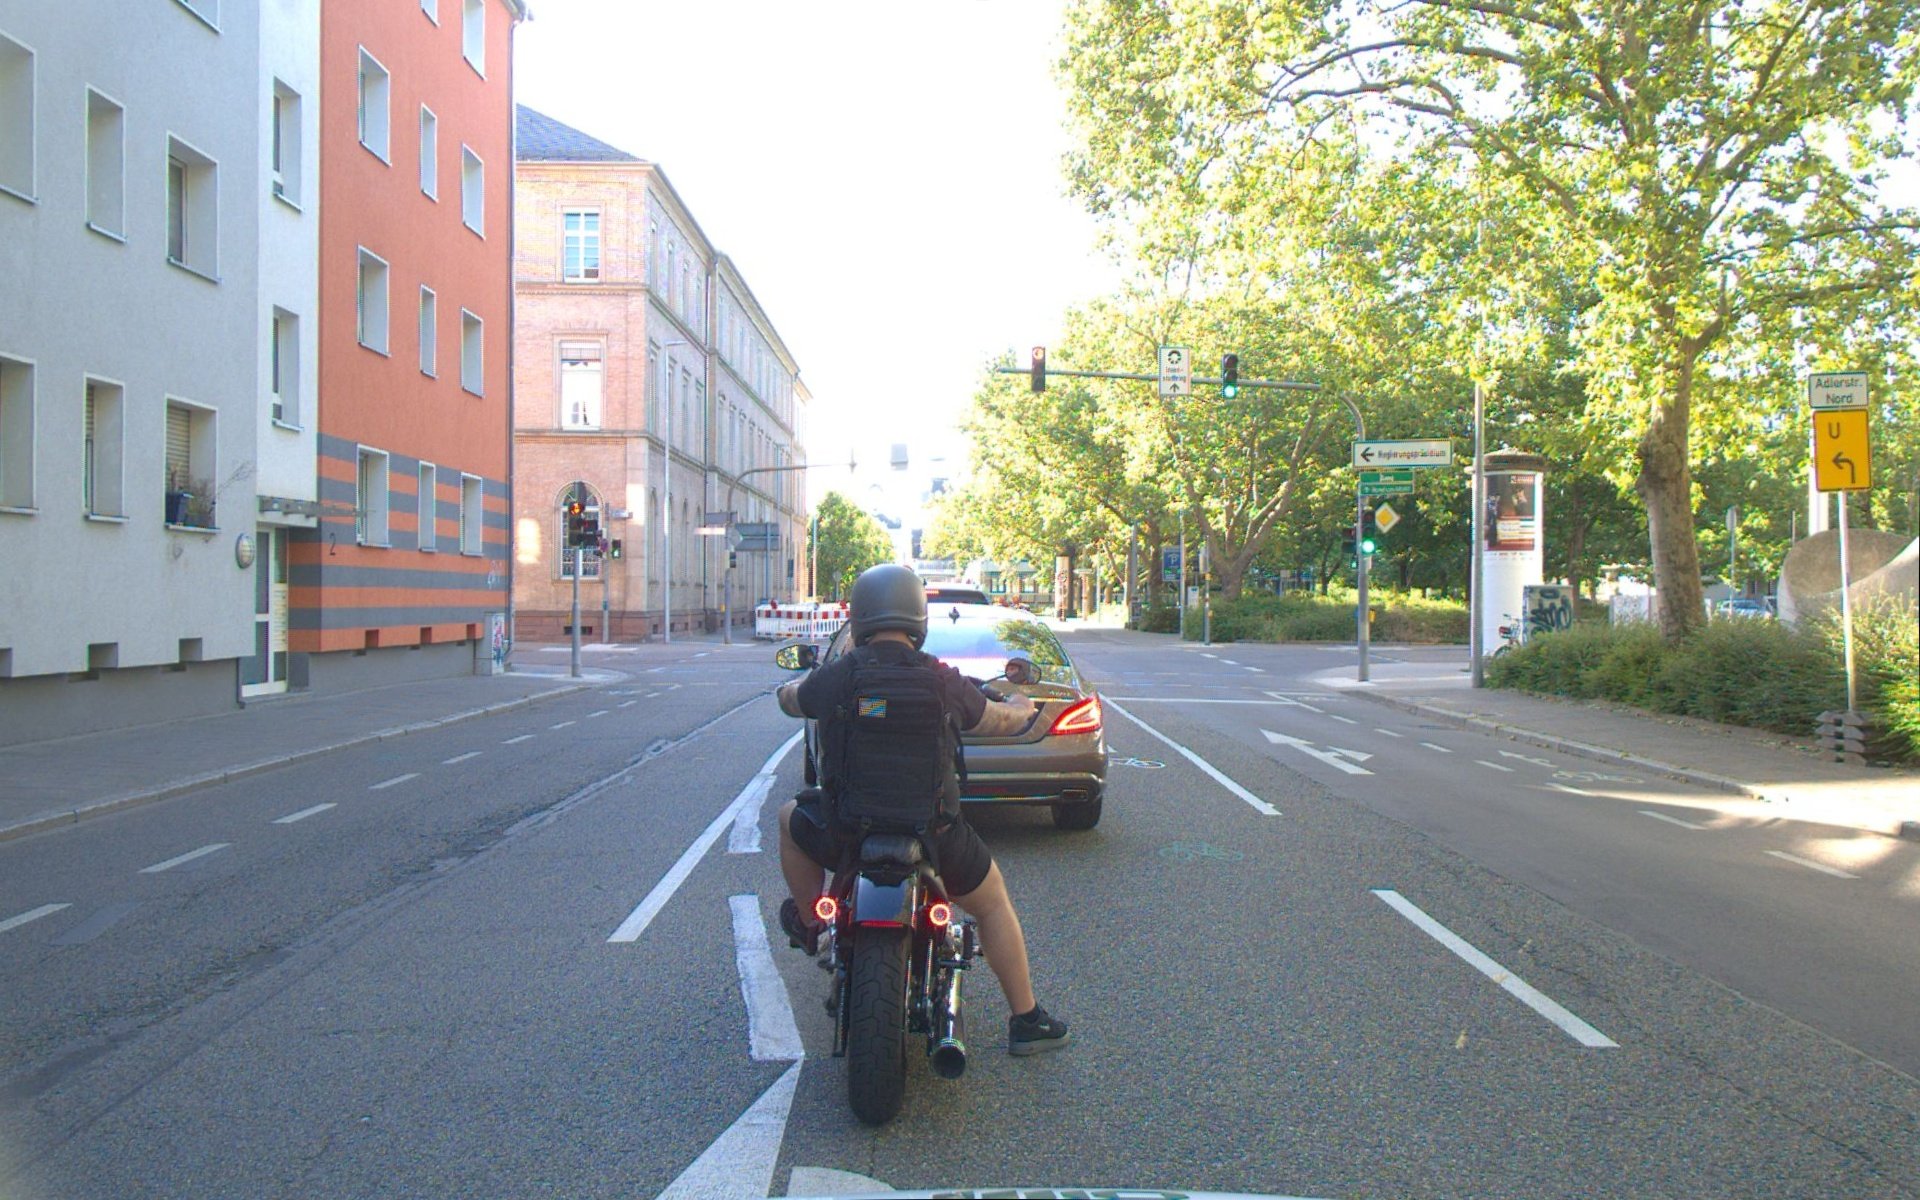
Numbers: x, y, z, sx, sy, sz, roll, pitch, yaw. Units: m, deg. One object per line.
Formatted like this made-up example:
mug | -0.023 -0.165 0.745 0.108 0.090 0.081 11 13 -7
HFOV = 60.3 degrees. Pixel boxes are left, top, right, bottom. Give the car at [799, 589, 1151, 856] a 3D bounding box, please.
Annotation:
car | -0.110 0.679 11.592 1.909 1.498 4.355 0 0 -7

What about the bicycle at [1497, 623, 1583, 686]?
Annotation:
bicycle | 9.723 0.917 27.745 1.324 1.041 0.363 0 0 0

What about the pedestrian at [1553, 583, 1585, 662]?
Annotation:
pedestrian | 14.539 0.528 39.504 0.540 1.881 0.593 0 0 0

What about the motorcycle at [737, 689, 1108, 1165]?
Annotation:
motorcycle | -0.115 0.921 5.552 0.969 1.097 2.451 0 0 -1

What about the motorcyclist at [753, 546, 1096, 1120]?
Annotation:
motorcyclist | -0.110 0.658 5.398 0.969 1.625 1.403 0 0 -1

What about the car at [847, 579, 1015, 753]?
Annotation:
car | -0.332 0.614 17.756 1.580 1.636 4.327 0 0 -2
